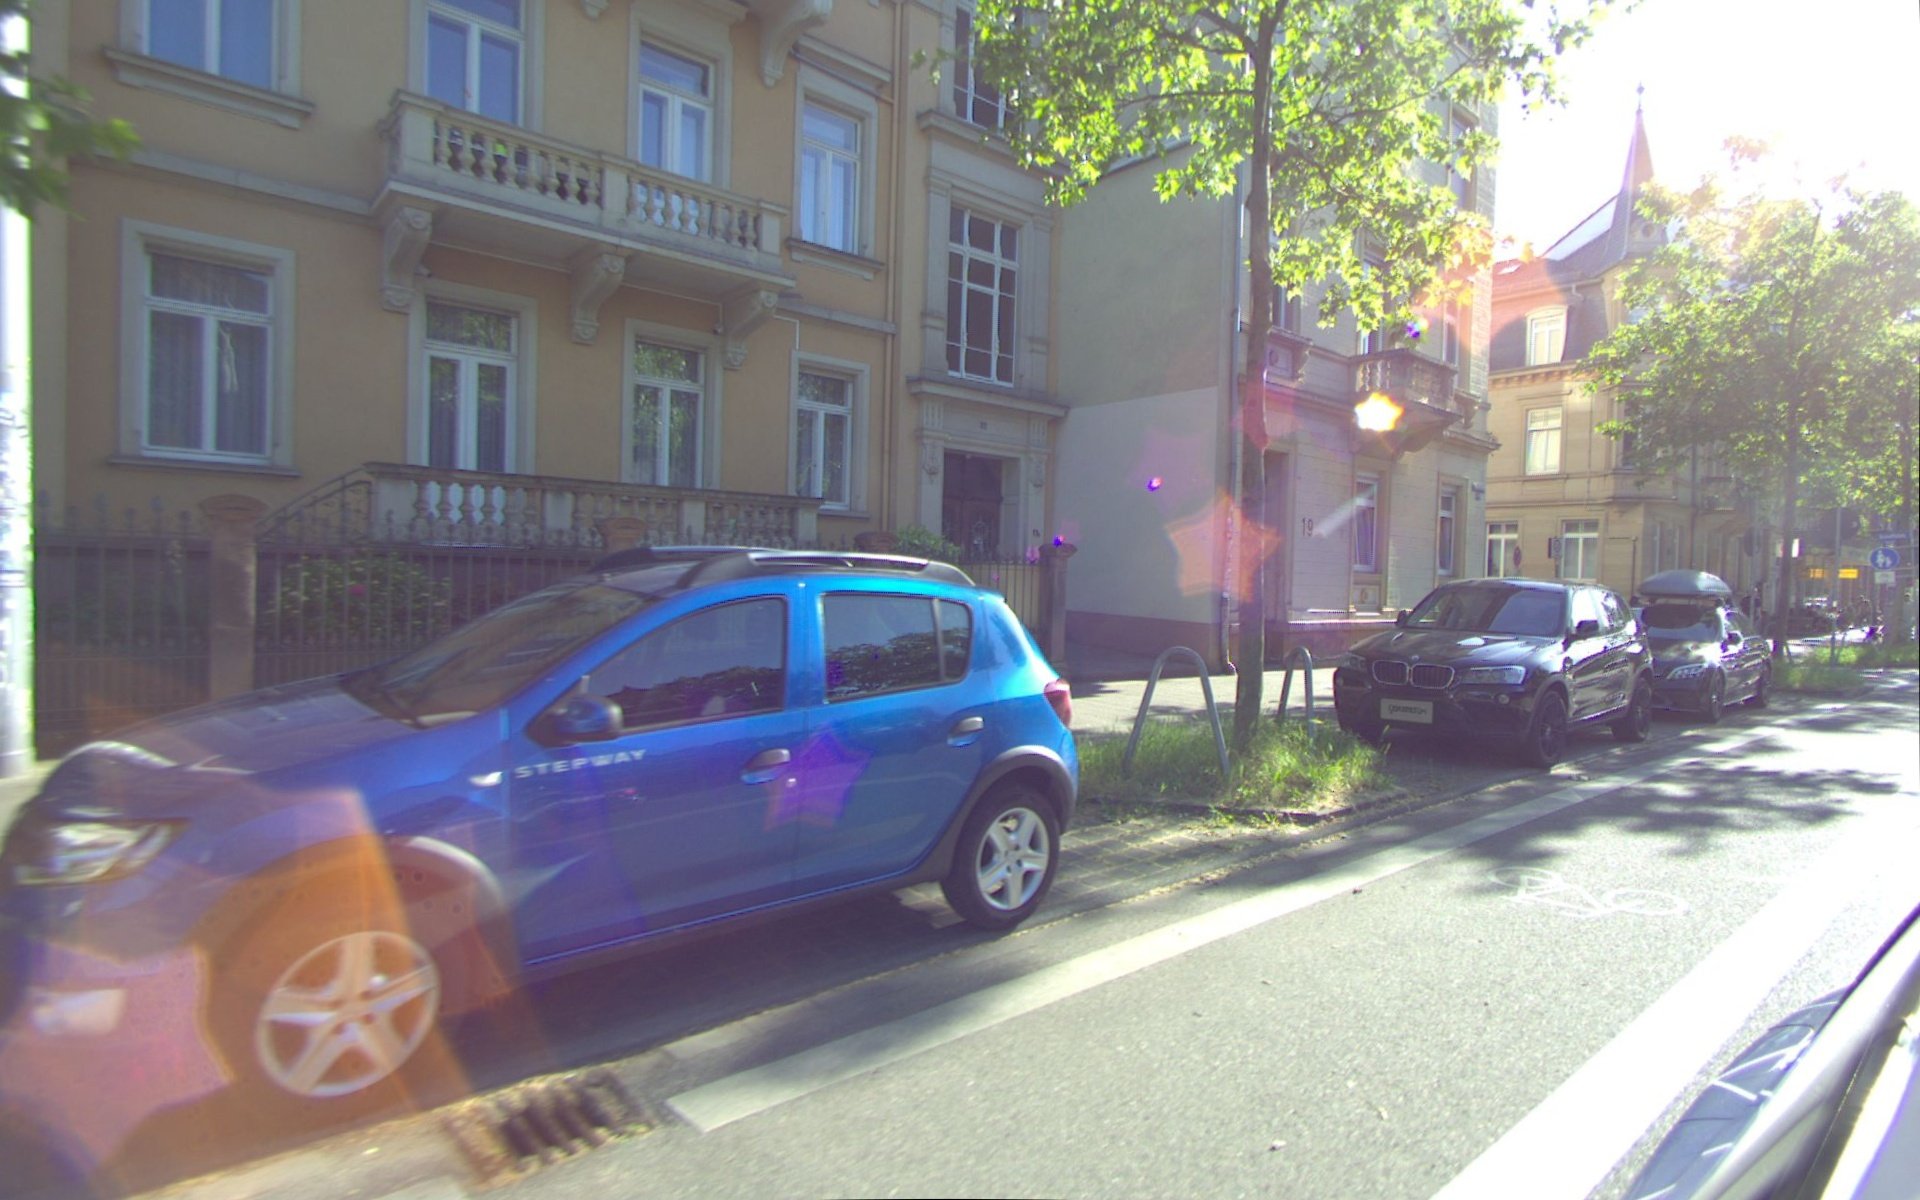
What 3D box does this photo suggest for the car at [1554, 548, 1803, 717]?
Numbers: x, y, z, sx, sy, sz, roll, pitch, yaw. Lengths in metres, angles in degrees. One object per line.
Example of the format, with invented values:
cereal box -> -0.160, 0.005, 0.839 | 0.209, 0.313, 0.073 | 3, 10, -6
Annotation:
car -> 10.131, 0.369, 14.118 | 4.654, 1.989, 1.758 | 0, 1, -41

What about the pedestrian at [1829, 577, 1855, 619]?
pedestrian -> 38.841, -0.069, 44.566 | 0.758, 1.833, 0.470 | 0, -1, -9

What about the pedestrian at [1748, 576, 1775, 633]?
pedestrian -> 26.376, 0.150, 33.315 | 0.943, 1.850, 0.564 | 1, -1, -44

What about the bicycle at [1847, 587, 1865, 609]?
bicycle -> 42.806, -0.087, 48.341 | 1.659, 1.006, 0.443 | 1, -1, -42

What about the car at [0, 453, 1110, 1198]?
car -> -1.365, 0.507, 4.082 | 3.968, 1.679, 1.695 | 1, 1, -41

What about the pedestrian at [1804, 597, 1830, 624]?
pedestrian -> 37.789, 0.460, 44.618 | 0.643, 1.176, 0.671 | 0, -1, 14

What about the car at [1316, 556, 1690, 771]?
car -> 5.682, 0.474, 10.304 | 4.654, 1.721, 1.801 | 0, 2, -41

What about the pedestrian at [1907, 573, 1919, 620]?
pedestrian -> 41.589, -0.147, 43.708 | 0.840, 2.039, 0.884 | 1, -1, -37

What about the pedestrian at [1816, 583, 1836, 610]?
pedestrian -> 38.991, -0.162, 45.554 | 0.644, 1.176, 0.602 | 0, -1, 39
